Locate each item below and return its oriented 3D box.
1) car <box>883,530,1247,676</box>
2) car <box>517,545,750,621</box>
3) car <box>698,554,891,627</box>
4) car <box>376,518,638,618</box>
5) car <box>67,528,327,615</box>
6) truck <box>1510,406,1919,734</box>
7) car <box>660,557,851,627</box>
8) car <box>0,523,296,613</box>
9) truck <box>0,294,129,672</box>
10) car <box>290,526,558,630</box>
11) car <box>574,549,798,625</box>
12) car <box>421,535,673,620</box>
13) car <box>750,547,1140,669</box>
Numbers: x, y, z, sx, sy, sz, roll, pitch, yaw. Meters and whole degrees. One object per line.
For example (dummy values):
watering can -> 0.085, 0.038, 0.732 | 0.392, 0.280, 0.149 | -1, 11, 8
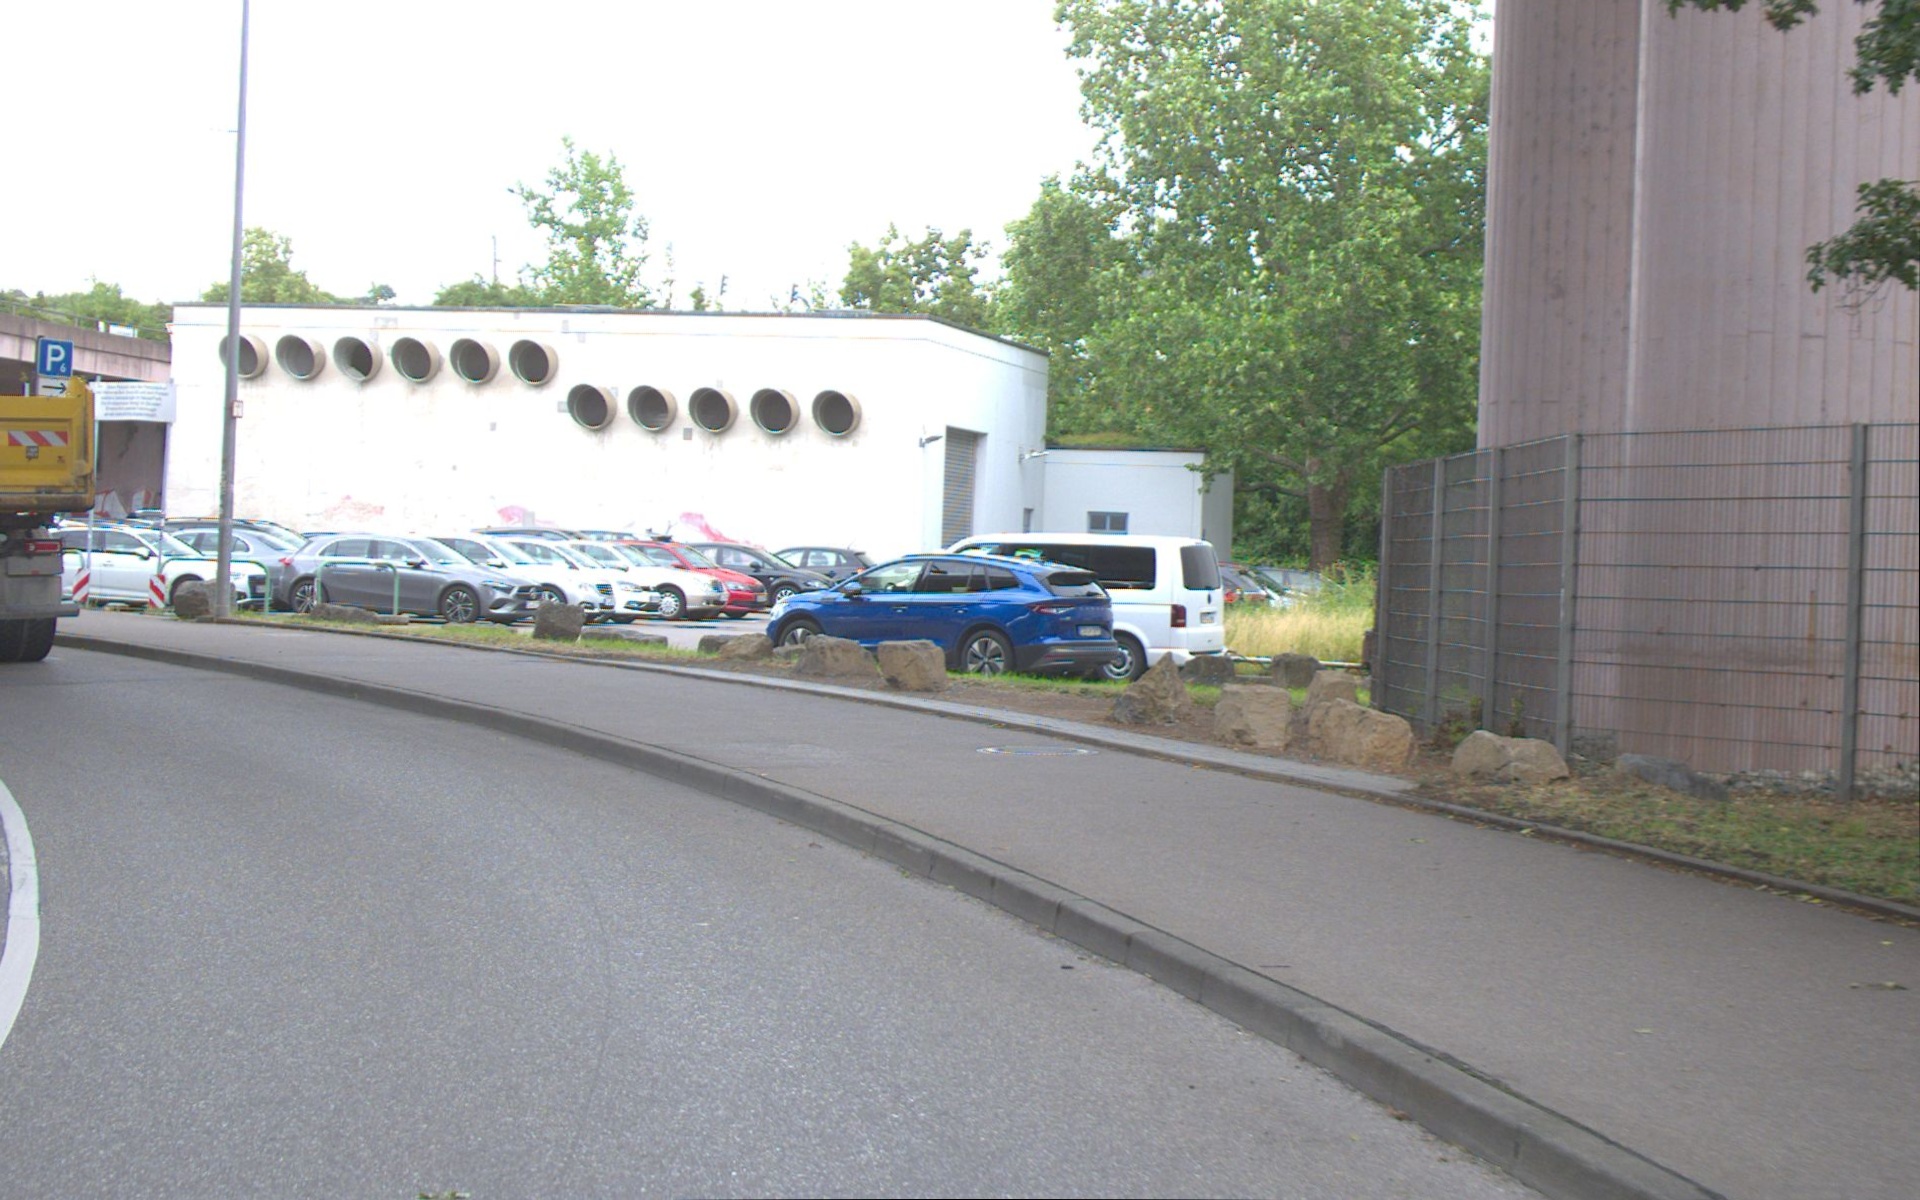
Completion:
car -> 1.378, 0.046, 45.216 | 4.321, 1.851, 1.997 | 0, -1, 27
car -> -6.280, -0.320, 66.267 | 3.990, 1.402, 1.998 | 1, -1, 17
car -> -3.758, -0.231, 78.099 | 3.990, 1.541, 1.854 | 1, 2, 18
car -> -7.776, -0.544, 59.103 | 3.990, 1.634, 1.998 | 1, -1, 15
car -> -13.398, -0.496, 60.444 | 3.990, 1.437, 1.998 | 1, -1, 17
truck -> 7.906, -0.230, 28.676 | 2.715, 2.543, 7.232 | 1, 0, -28
car -> -4.352, -0.172, 73.215 | 3.703, 1.437, 1.633 | 1, -1, 17
car -> -13.885, -0.539, 58.130 | 4.824, 1.437, 1.998 | 1, -1, 17
truck -> -11.241, -1.199, 34.969 | 2.927, 3.469, 8.245 | -2, 3, -32
car -> -8.799, -0.356, 56.523 | 3.990, 1.634, 1.688 | 1, -1, 16
car -> -5.456, -0.261, 68.553 | 3.990, 1.437, 1.998 | 1, -1, 17
car -> -7.386, -0.395, 61.616 | 3.990, 1.437, 1.998 | 1, -1, 17
car -> -0.201, 0.103, 42.692 | 4.452, 1.437, 1.996 | 0, -1, 32
